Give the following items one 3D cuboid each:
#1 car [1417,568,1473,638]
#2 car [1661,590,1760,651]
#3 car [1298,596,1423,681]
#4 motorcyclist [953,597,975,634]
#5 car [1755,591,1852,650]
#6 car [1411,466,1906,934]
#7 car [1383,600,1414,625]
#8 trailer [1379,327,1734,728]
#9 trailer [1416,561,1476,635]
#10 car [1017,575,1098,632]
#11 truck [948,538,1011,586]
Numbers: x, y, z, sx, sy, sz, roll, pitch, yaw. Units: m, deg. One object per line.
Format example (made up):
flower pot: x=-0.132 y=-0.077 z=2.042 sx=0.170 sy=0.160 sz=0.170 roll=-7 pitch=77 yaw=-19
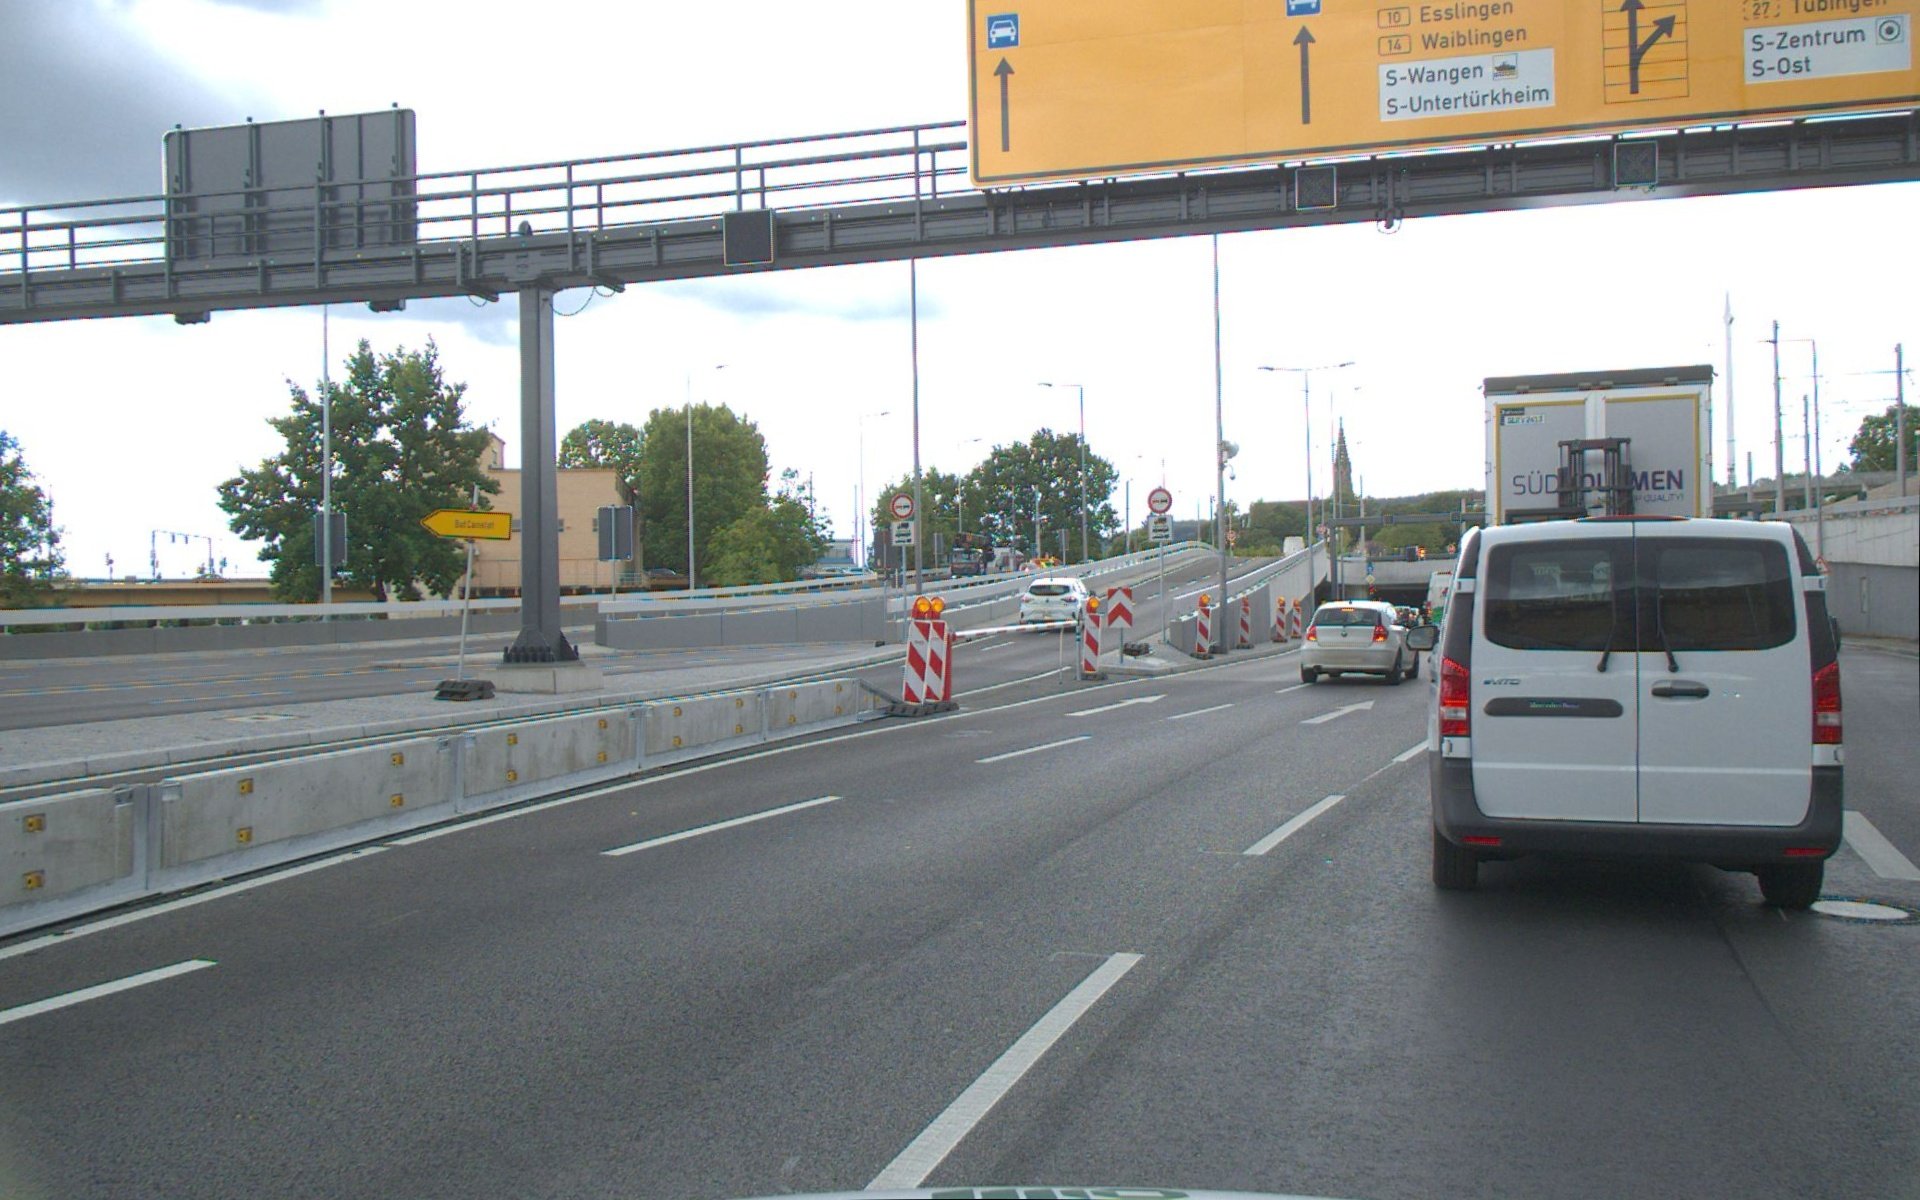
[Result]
car: x=19.981 y=0.160 z=68.346 sx=2.014 sy=2.674 sz=5.946 roll=2 pitch=0 yaw=15
car: x=20.191 y=0.582 z=44.635 sx=1.853 sy=1.547 sz=4.002 roll=1 pitch=-1 yaw=16
car: x=7.392 y=0.668 z=30.274 sx=1.681 sy=1.422 sz=4.347 roll=1 pitch=0 yaw=21
motorcyclist: x=0.196 y=0.704 z=75.251 sx=0.651 sy=1.634 sz=1.103 roll=0 pitch=-1 yaw=20
car: x=24.738 y=0.592 z=48.651 sx=1.853 sy=1.655 sz=4.002 roll=1 pitch=-1 yaw=17
car: x=3.779 y=0.443 z=9.925 sx=1.951 sy=2.025 sz=5.203 roll=0 pitch=0 yaw=14
car: x=28.229 y=0.811 z=106.520 sx=1.624 sy=1.514 sz=3.569 roll=-1 pitch=-2 yaw=10
trailer: x=8.570 y=-0.738 z=23.145 sx=3.649 sy=4.214 sz=10.980 roll=0 pitch=0 yaw=23
trailer: x=18.966 y=-0.053 z=64.667 sx=2.059 sy=2.685 sz=4.813 roll=3 pitch=0 yaw=15
car: x=2.784 y=0.119 z=46.645 sx=1.706 sy=1.457 sz=3.778 roll=3 pitch=0 yaw=11
truck: x=1.553 y=-2.968 z=126.383 sx=2.674 sy=3.448 sz=10.631 roll=1 pitch=3 yaw=12
